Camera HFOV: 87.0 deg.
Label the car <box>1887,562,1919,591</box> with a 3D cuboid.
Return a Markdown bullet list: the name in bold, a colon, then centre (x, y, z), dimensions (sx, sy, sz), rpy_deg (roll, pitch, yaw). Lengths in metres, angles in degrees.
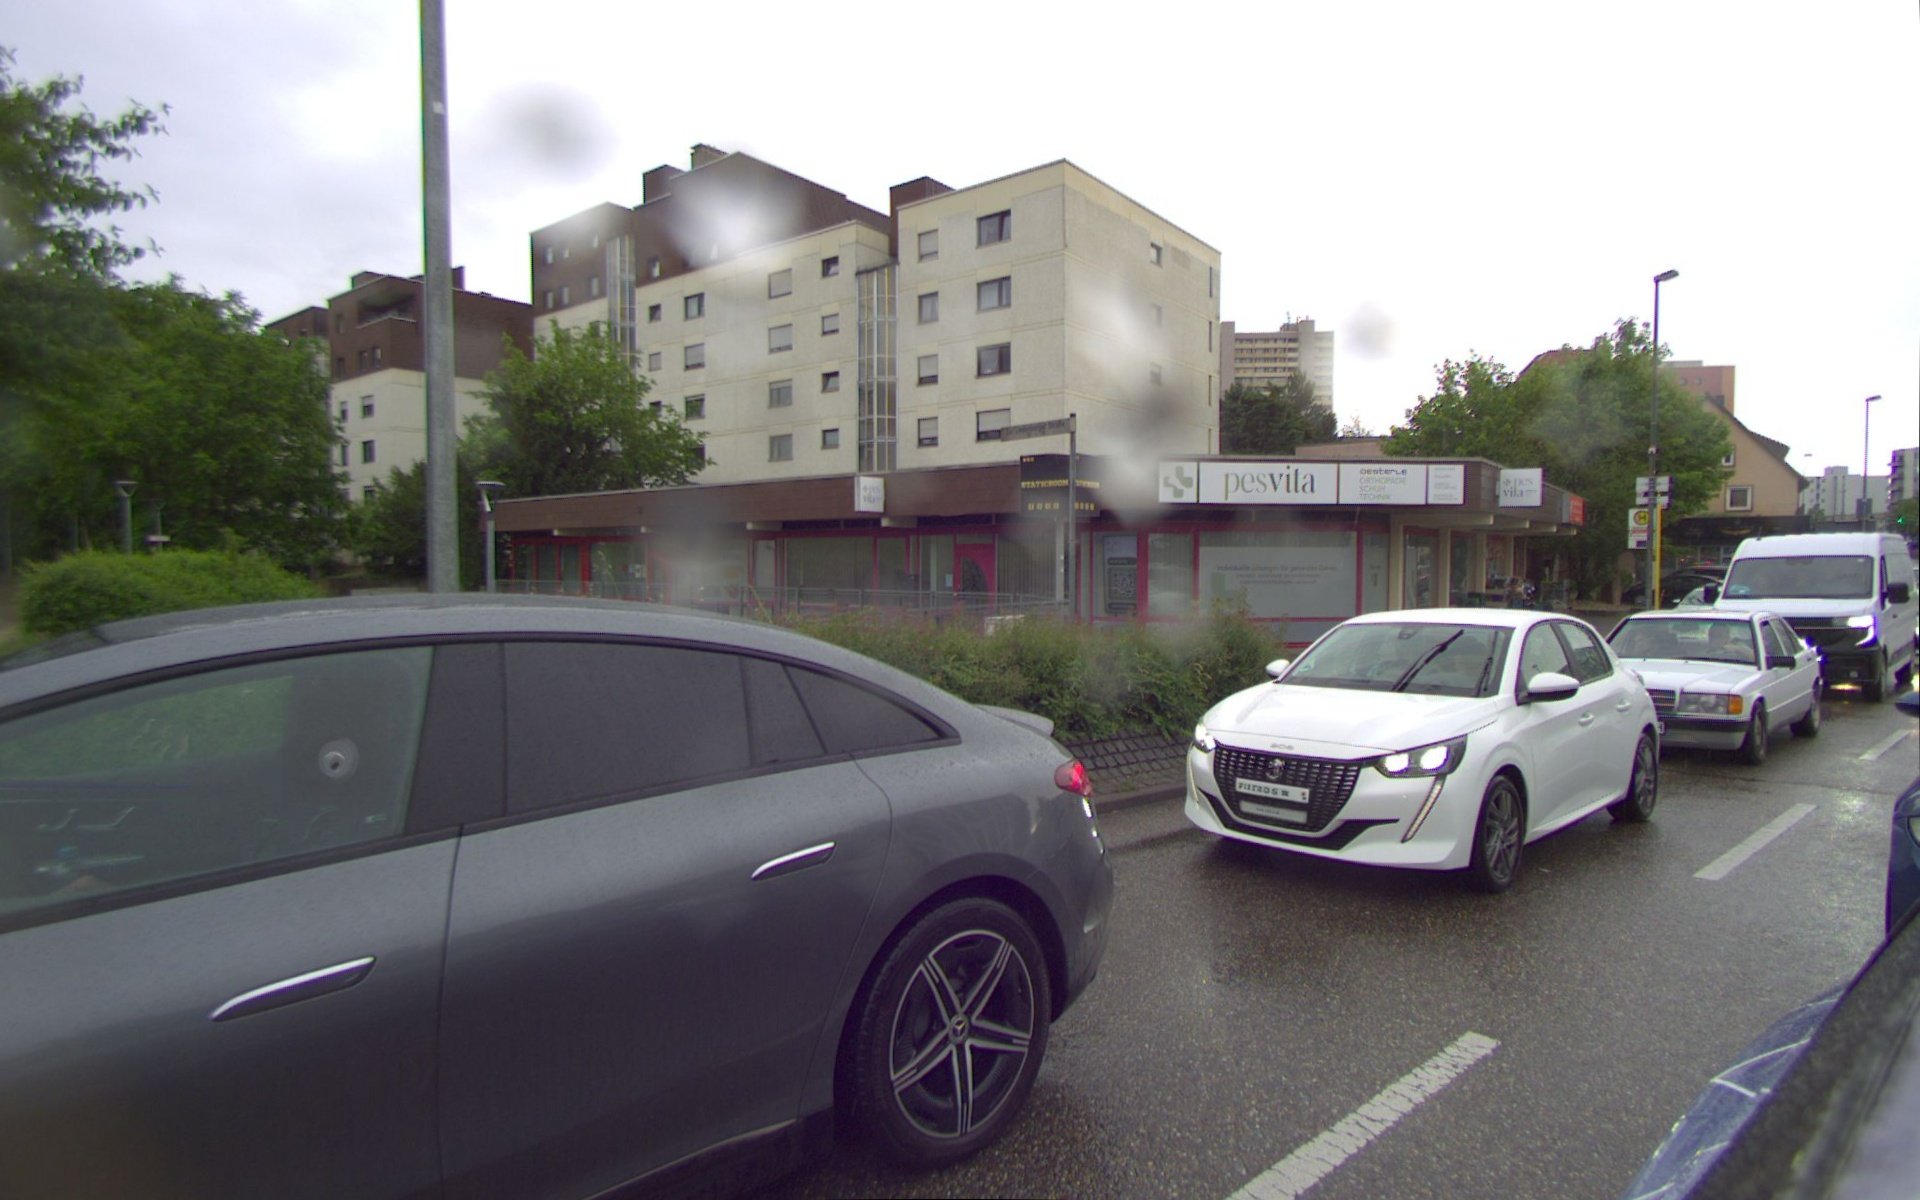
- **car**: centre (61.292, -1.491, 65.130), dimensions (3.930, 1.776, 1.879), rpy_deg (0, 3, -41)

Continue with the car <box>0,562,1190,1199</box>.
- **car**: centre (-1.618, 0.695, 2.427), dimensions (4.724, 1.485, 1.840), rpy_deg (0, -1, -41)

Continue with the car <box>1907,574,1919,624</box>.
- **car**: centre (33.306, -0.060, 33.958), dimensions (3.933, 1.588, 1.996), rpy_deg (-2, 1, -43)

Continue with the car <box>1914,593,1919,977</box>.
- **car**: centre (5.515, 0.670, 4.445), dimensions (3.933, 1.406, 1.690), rpy_deg (-1, 1, -43)

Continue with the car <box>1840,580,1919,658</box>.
- **car**: centre (20.702, 0.356, 22.011), dimensions (3.930, 1.558, 1.802), rpy_deg (-1, 2, -41)

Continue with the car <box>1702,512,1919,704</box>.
- **car**: centre (13.972, 0.031, 16.319), dimensions (6.021, 2.549, 2.194), rpy_deg (-2, 2, -43)

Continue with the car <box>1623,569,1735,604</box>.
- **car**: centre (32.147, -0.633, 45.310), dimensions (3.981, 1.445, 1.858), rpy_deg (2, 2, 39)

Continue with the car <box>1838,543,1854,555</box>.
- **car**: centre (139.525, -8.017, 159.418), dimensions (1.657, 1.654, 3.754), rpy_deg (1, 1, 37)

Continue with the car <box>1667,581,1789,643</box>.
- **car**: centre (20.243, 0.263, 26.621), dimensions (3.930, 1.509, 1.787), rpy_deg (-1, 1, -41)

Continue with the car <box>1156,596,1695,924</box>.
- **car**: centre (3.190, 0.714, 6.531), dimensions (4.043, 1.433, 1.665), rpy_deg (-1, 1, -41)

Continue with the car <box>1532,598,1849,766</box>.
- **car**: centre (7.723, 0.690, 10.564), dimensions (4.089, 1.362, 1.787), rpy_deg (-1, 1, -41)

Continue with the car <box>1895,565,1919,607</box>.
- **car**: centre (48.456, -0.724, 50.636), dimensions (3.930, 2.038, 1.998), rpy_deg (-1, 3, -40)

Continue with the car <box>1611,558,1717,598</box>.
- **car**: centre (33.065, -1.032, 47.552), dimensions (3.981, 1.801, 1.858), rpy_deg (2, 2, 39)
